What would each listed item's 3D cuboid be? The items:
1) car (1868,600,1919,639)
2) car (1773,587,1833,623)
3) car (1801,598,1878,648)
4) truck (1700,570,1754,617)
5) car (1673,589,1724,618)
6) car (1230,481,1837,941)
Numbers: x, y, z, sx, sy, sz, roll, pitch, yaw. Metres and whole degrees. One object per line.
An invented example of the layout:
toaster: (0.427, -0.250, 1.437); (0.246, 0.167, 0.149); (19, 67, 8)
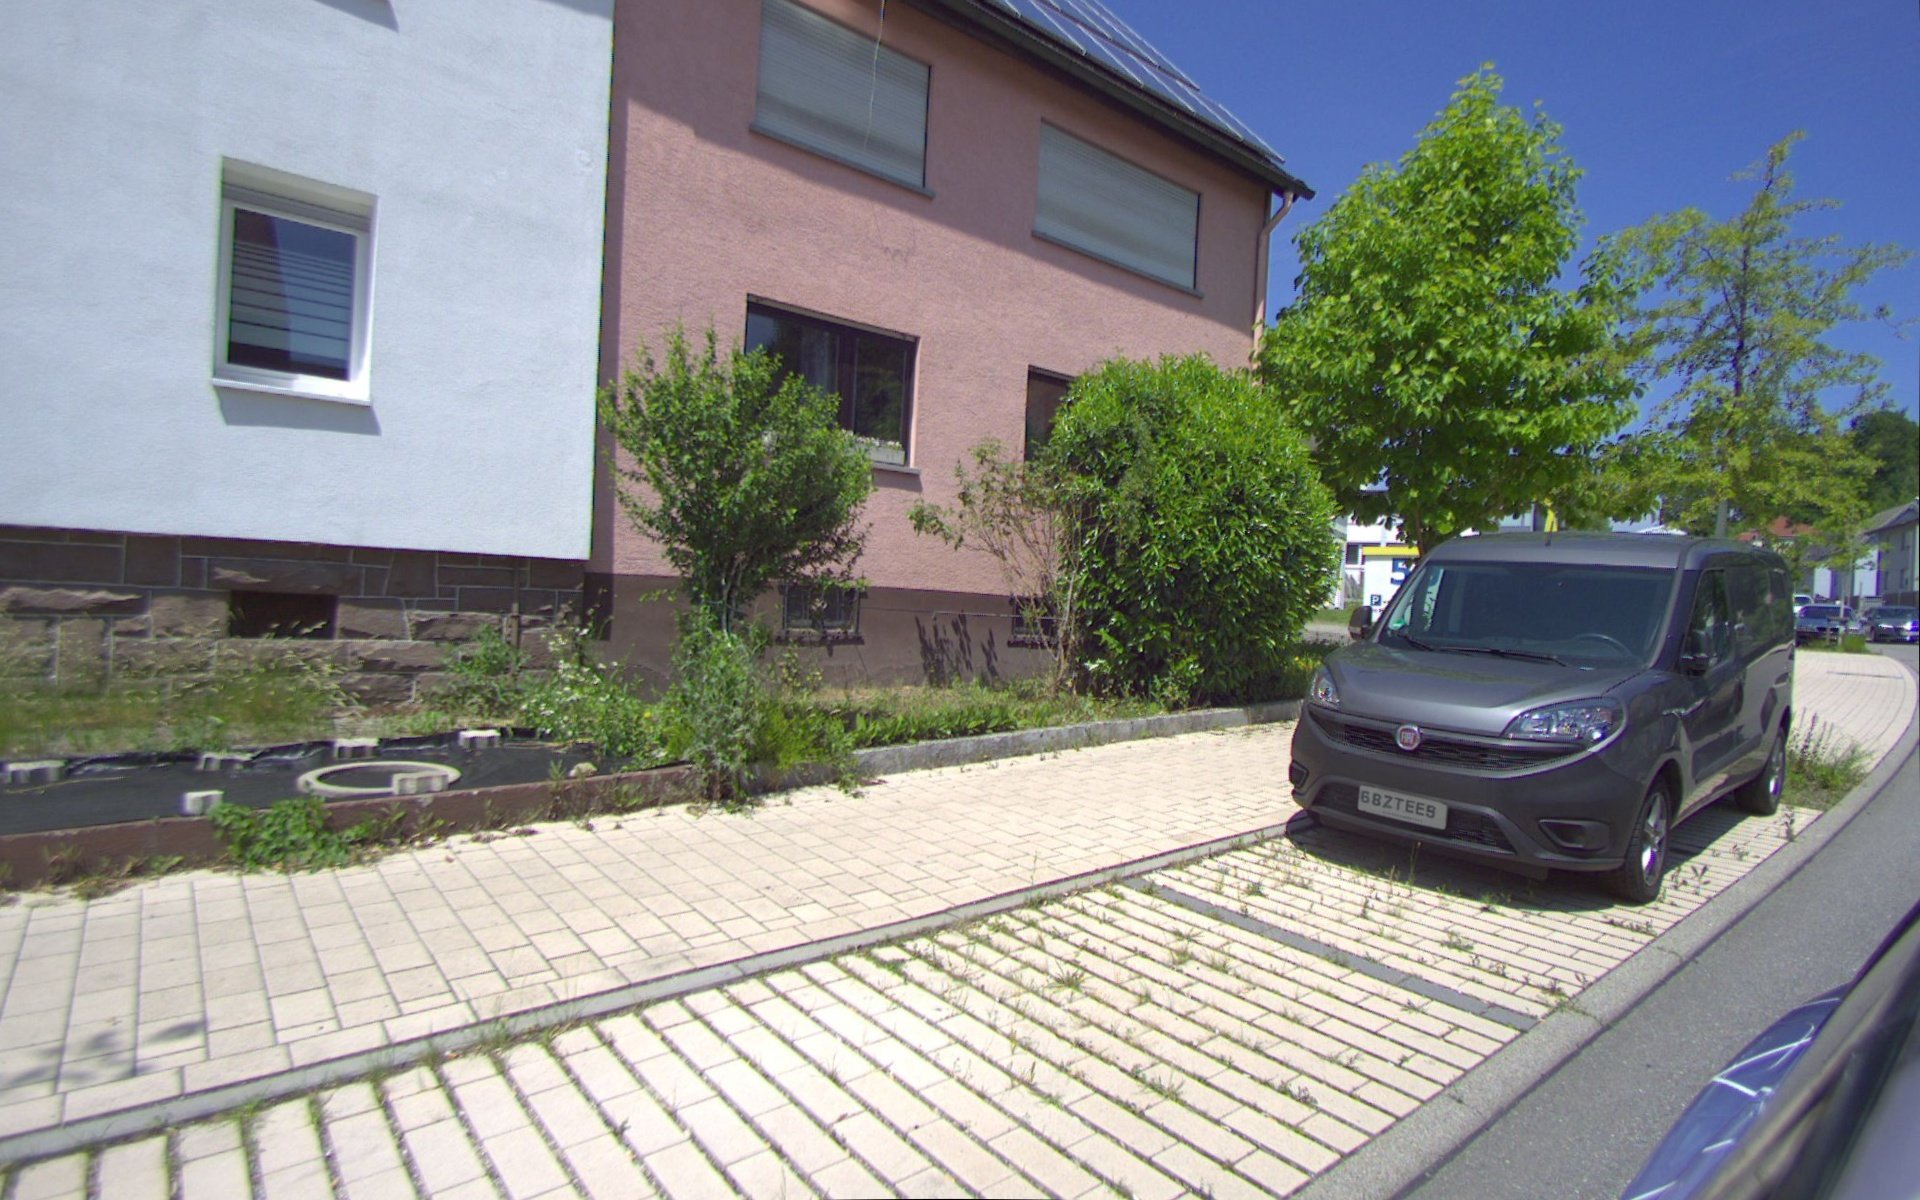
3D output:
car: (35.553, 0.707, 37.839); (1.900, 1.366, 3.949); (2, 1, 35)
car: (46.913, 0.239, 56.413); (1.956, 1.856, 4.411); (3, 2, 33)
car: (27.590, 0.678, 31.760); (1.670, 1.393, 3.940); (4, 2, 41)
truck: (59.796, -0.508, 79.058); (2.788, 3.457, 8.021); (1, 1, 34)
car: (42.429, 0.181, 58.214); (1.636, 1.549, 3.829); (2, 1, 26)
car: (3.824, 0.423, 6.323); (4.589, 1.865, 1.858); (1, 2, -42)
